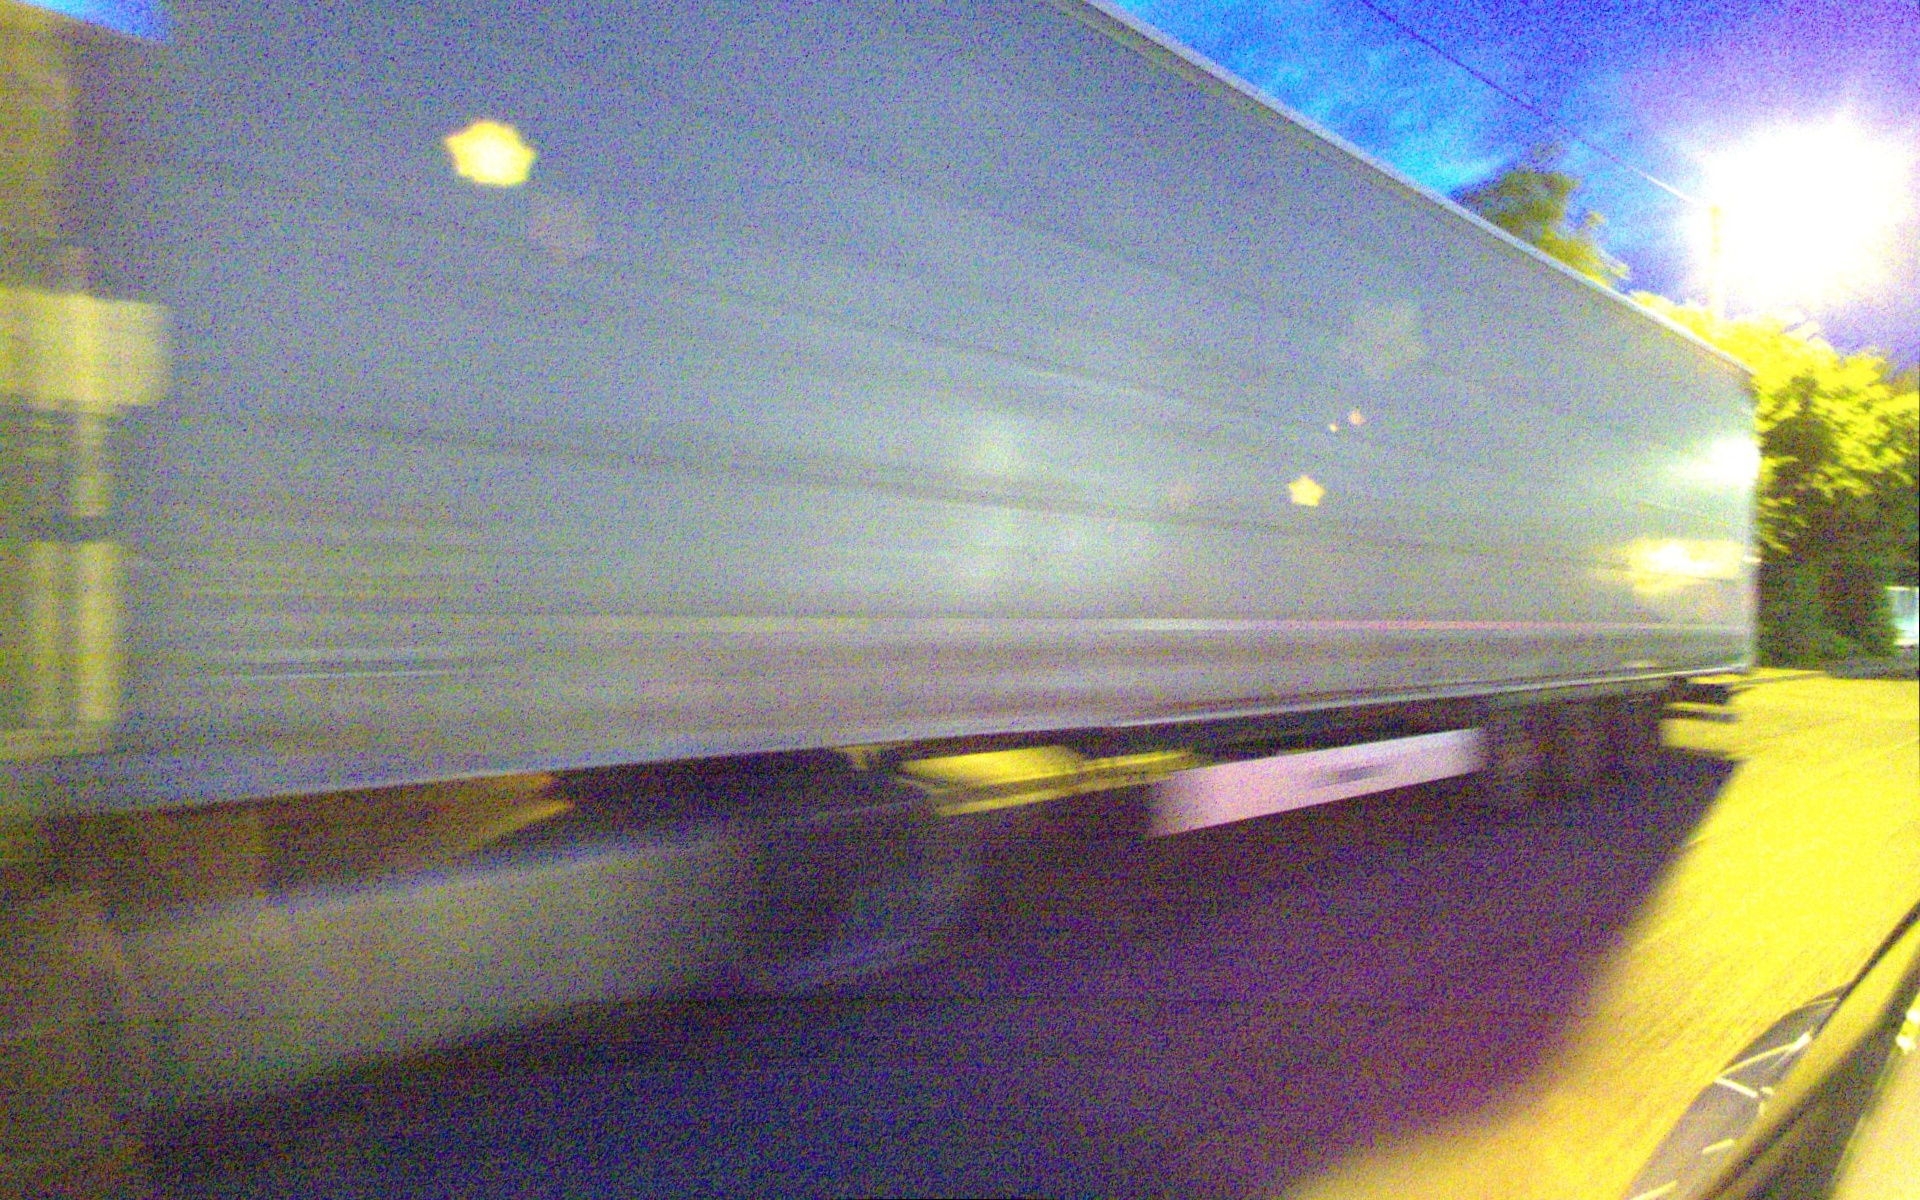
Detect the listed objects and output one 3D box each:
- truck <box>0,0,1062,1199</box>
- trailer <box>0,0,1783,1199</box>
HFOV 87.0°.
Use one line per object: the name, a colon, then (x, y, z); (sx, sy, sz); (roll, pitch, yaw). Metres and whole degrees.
truck: (-2.805, -0.670, 3.057); (5.940, 4.033, 2.837); (0, 0, -39)
trailer: (2.453, -0.698, 7.380); (13.723, 4.033, 2.815); (0, 0, -39)
